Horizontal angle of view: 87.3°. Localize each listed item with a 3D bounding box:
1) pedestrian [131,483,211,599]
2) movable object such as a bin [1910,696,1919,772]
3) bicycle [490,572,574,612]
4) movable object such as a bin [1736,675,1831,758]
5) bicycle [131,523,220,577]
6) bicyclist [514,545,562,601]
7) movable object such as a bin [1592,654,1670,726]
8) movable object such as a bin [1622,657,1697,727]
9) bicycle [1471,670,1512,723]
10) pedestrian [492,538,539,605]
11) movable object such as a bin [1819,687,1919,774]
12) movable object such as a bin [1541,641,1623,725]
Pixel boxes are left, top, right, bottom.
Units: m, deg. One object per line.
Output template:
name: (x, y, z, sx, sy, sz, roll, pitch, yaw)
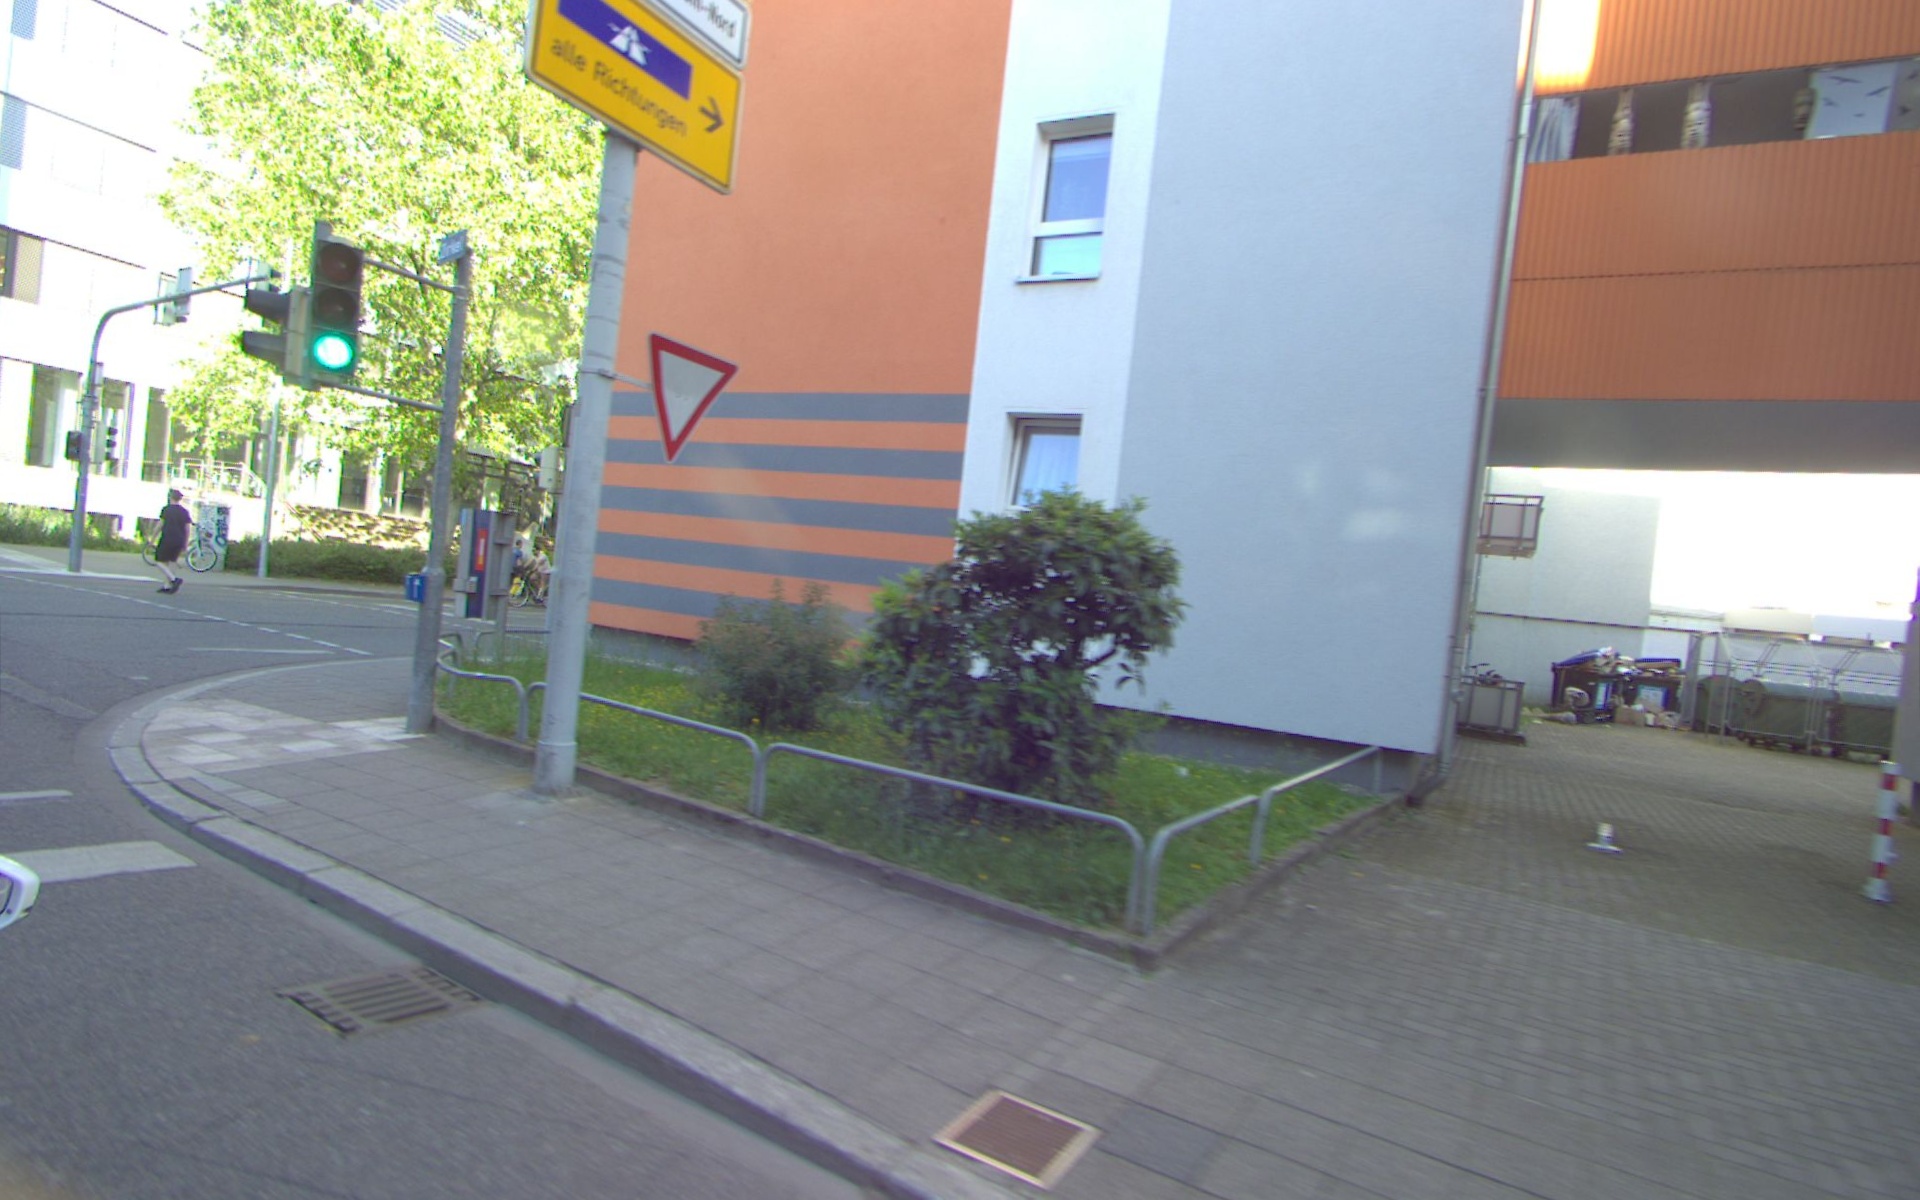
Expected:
pedestrian: (-13.683, -1.018, 17.450, 0.824, 1.862, 0.707, 7, 0, 34)
movable object such as a bin: (20.015, 2.775, 19.999, 1.310, 1.520, 1.180, 6, 2, 33)
bicycle: (-12.440, -0.225, 29.277, 0.720, 0.938, 2.109, 7, 0, 38)
movable object such as a bin: (17.599, 2.466, 21.544, 1.310, 1.520, 1.180, 6, 2, 33)
bicycle: (-19.068, -1.214, 24.465, 1.657, 1.063, 0.508, 9, 2, -1)
bicyclist: (-12.308, -0.781, 29.345, 0.738, 1.507, 0.951, 7, 1, 39)
movable object such as a bin: (16.610, 2.215, 24.906, 1.225, 1.605, 1.170, 4, 3, -41)
movable object such as a bin: (17.839, 2.331, 25.647, 1.225, 1.605, 1.170, 4, 3, -41)
bicycle: (11.905, 2.137, 22.547, 0.669, 1.023, 2.456, 7, 0, 28)
pedestrian: (-13.453, -0.862, 30.455, 0.696, 1.861, 0.837, 7, -1, 24)
movable object such as a bin: (18.819, 2.662, 20.801, 1.310, 1.520, 1.180, 6, 2, 33)
movable object such as a bin: (14.760, 1.956, 23.876, 1.225, 1.807, 1.170, 4, 3, -41)
